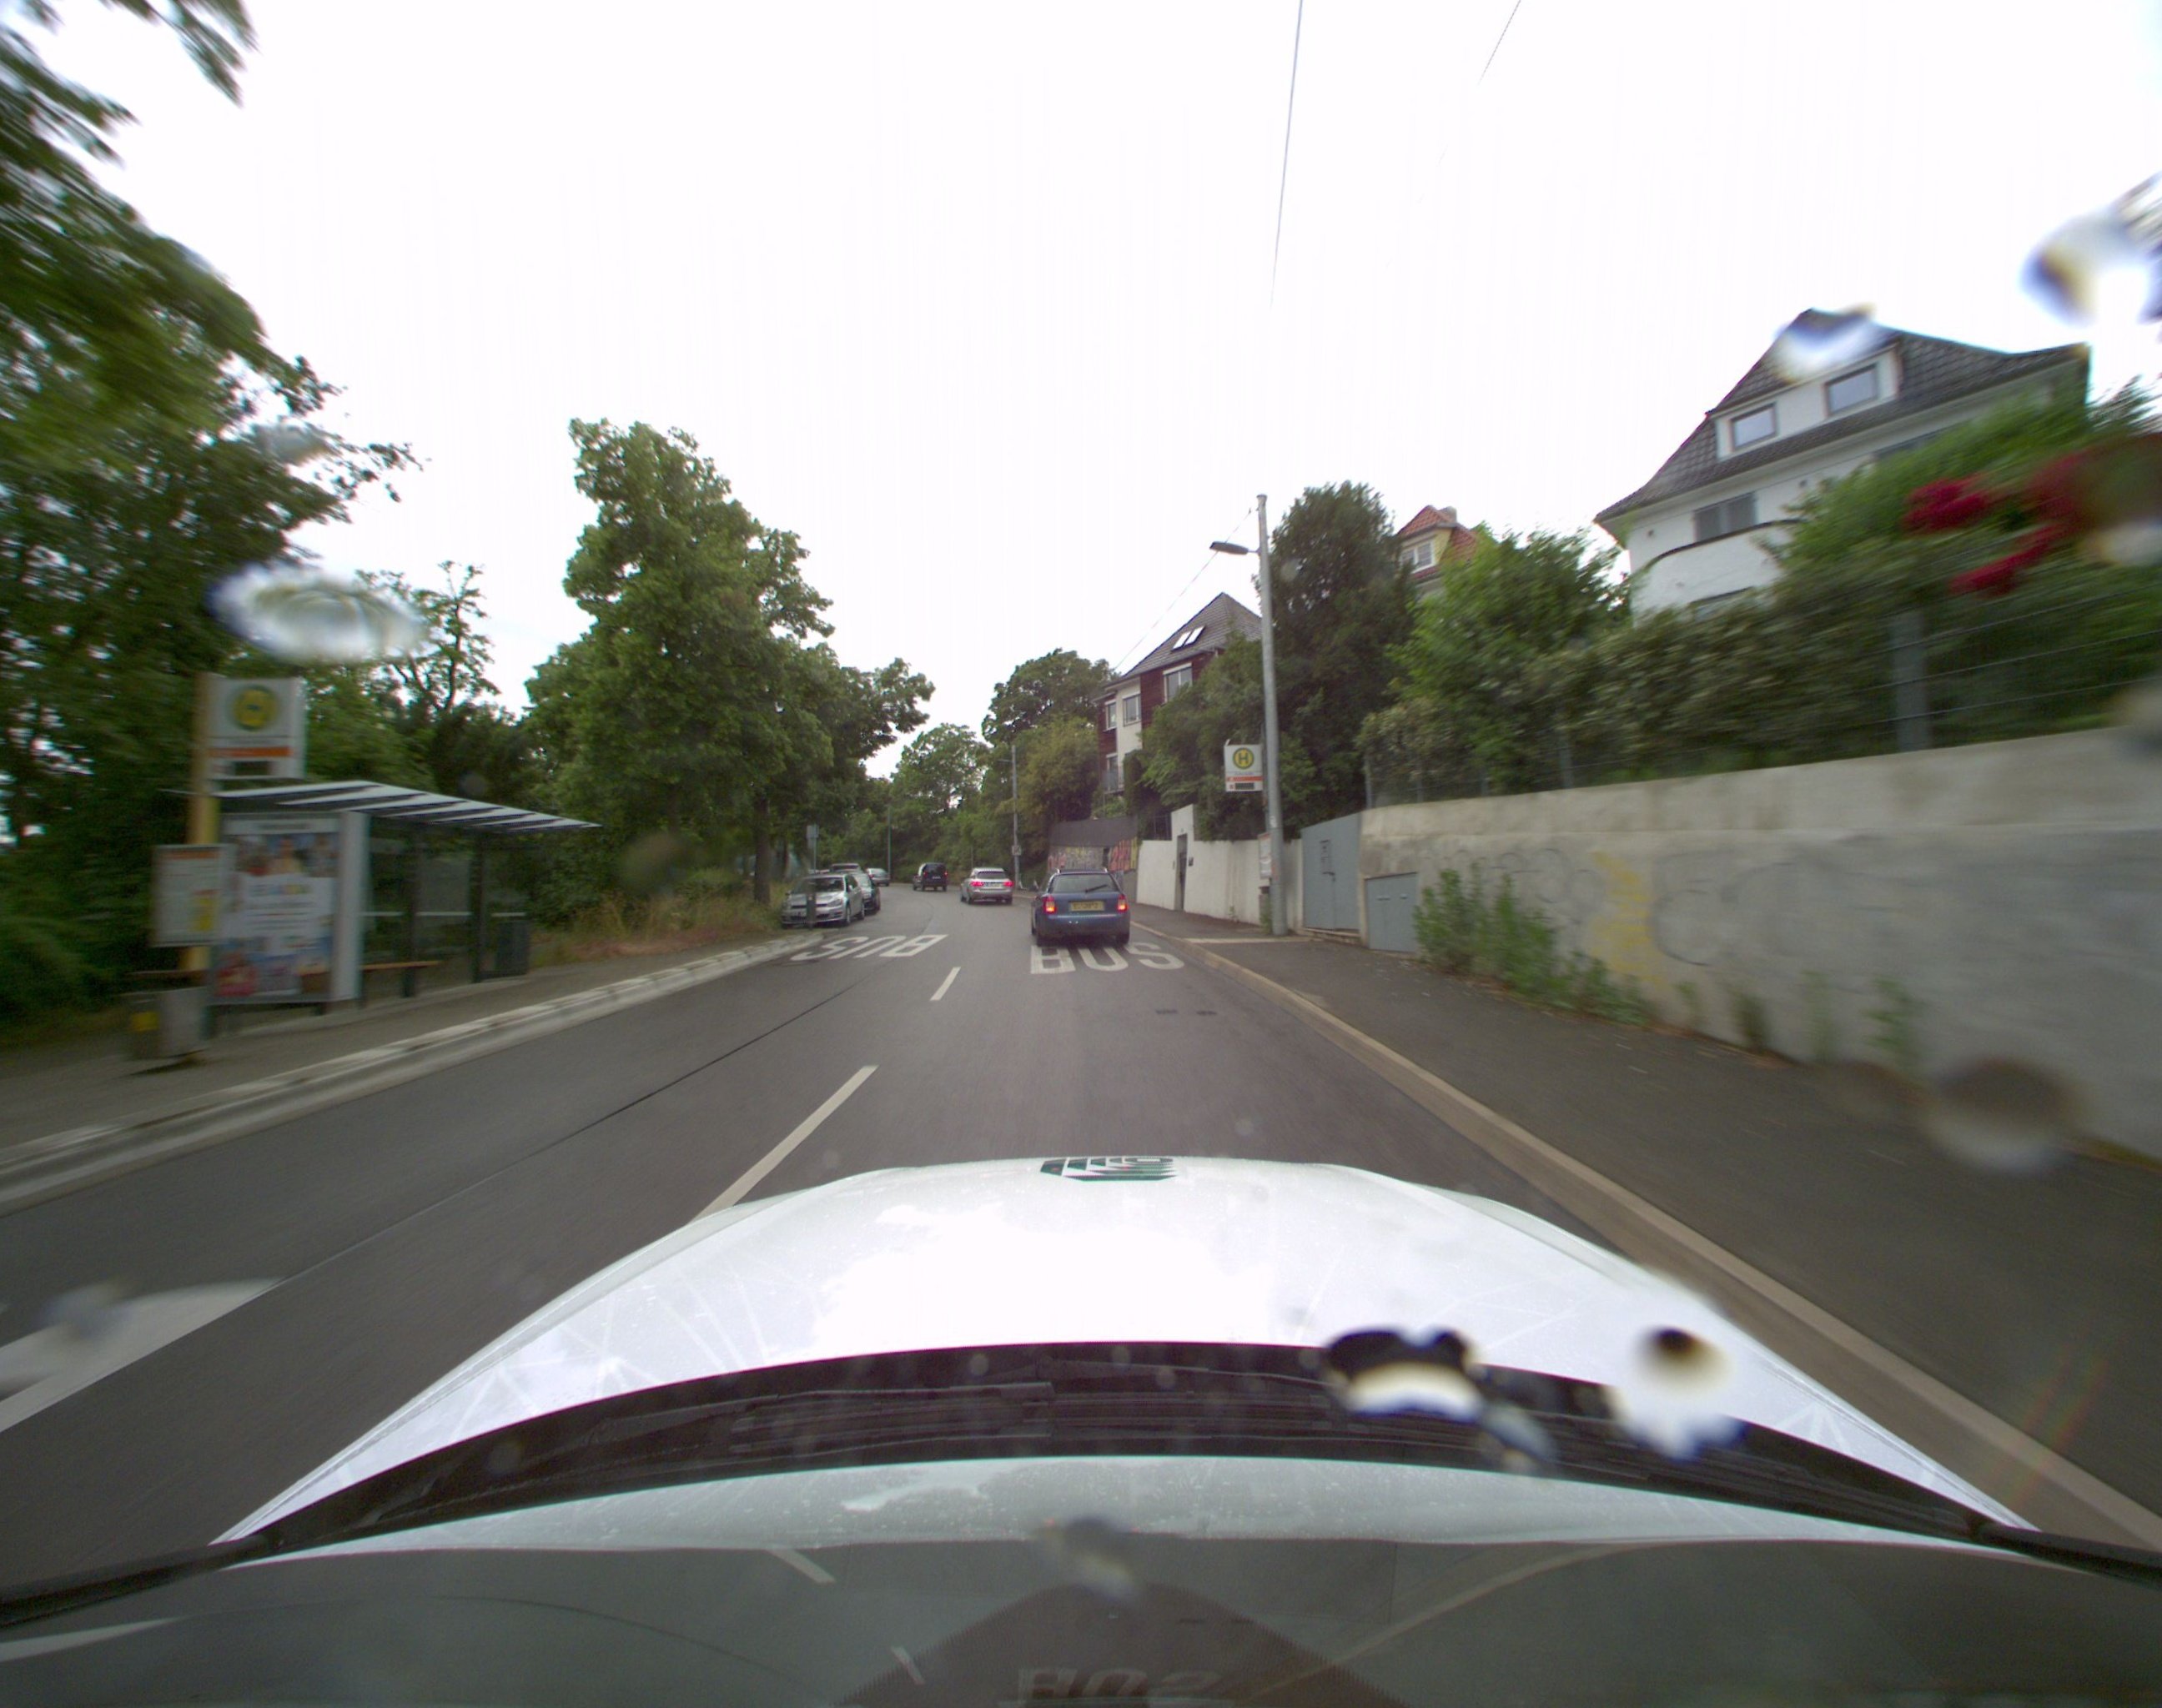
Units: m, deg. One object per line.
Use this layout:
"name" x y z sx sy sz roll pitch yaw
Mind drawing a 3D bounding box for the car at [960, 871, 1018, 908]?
"car" -3.872 1.436 33.680 1.910 1.388 4.331 1 -2 -13

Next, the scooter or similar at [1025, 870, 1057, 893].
"scooter or similar" -2.402 1.680 49.278 1.832 1.315 0.598 3 -4 -6

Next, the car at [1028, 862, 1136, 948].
"car" -0.110 0.937 16.262 1.774 1.439 3.993 -2 -1 -5

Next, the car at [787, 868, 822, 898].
"car" -20.068 2.105 59.062 2.003 2.014 3.968 -2 -1 -24

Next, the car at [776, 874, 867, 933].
"car" -7.331 1.344 23.378 1.672 1.427 3.991 -3 -1 -6

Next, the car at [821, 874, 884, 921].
"car" -7.974 1.455 28.651 1.674 1.427 3.986 -3 -1 -10

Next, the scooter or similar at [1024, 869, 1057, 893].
"scooter or similar" -2.422 1.638 48.629 1.832 1.315 0.598 3 -4 -6

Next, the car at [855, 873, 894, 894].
"car" -16.620 2.391 65.526 1.779 1.570 3.988 -2 -1 -33

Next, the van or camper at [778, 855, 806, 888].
"van or camper" -24.314 1.493 68.372 1.788 2.651 3.957 -2 -1 -25

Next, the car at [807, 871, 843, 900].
"car" -16.873 2.069 53.549 2.001 1.728 3.972 -3 -1 -20

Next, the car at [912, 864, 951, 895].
"car" -9.943 1.668 53.915 1.737 1.894 4.025 -2 -1 -21

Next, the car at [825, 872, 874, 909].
"car" -9.989 1.554 35.394 1.675 1.427 3.983 -3 -1 -12

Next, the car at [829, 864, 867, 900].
"car" -13.105 1.550 45.602 1.842 1.843 3.878 -3 -1 -18
